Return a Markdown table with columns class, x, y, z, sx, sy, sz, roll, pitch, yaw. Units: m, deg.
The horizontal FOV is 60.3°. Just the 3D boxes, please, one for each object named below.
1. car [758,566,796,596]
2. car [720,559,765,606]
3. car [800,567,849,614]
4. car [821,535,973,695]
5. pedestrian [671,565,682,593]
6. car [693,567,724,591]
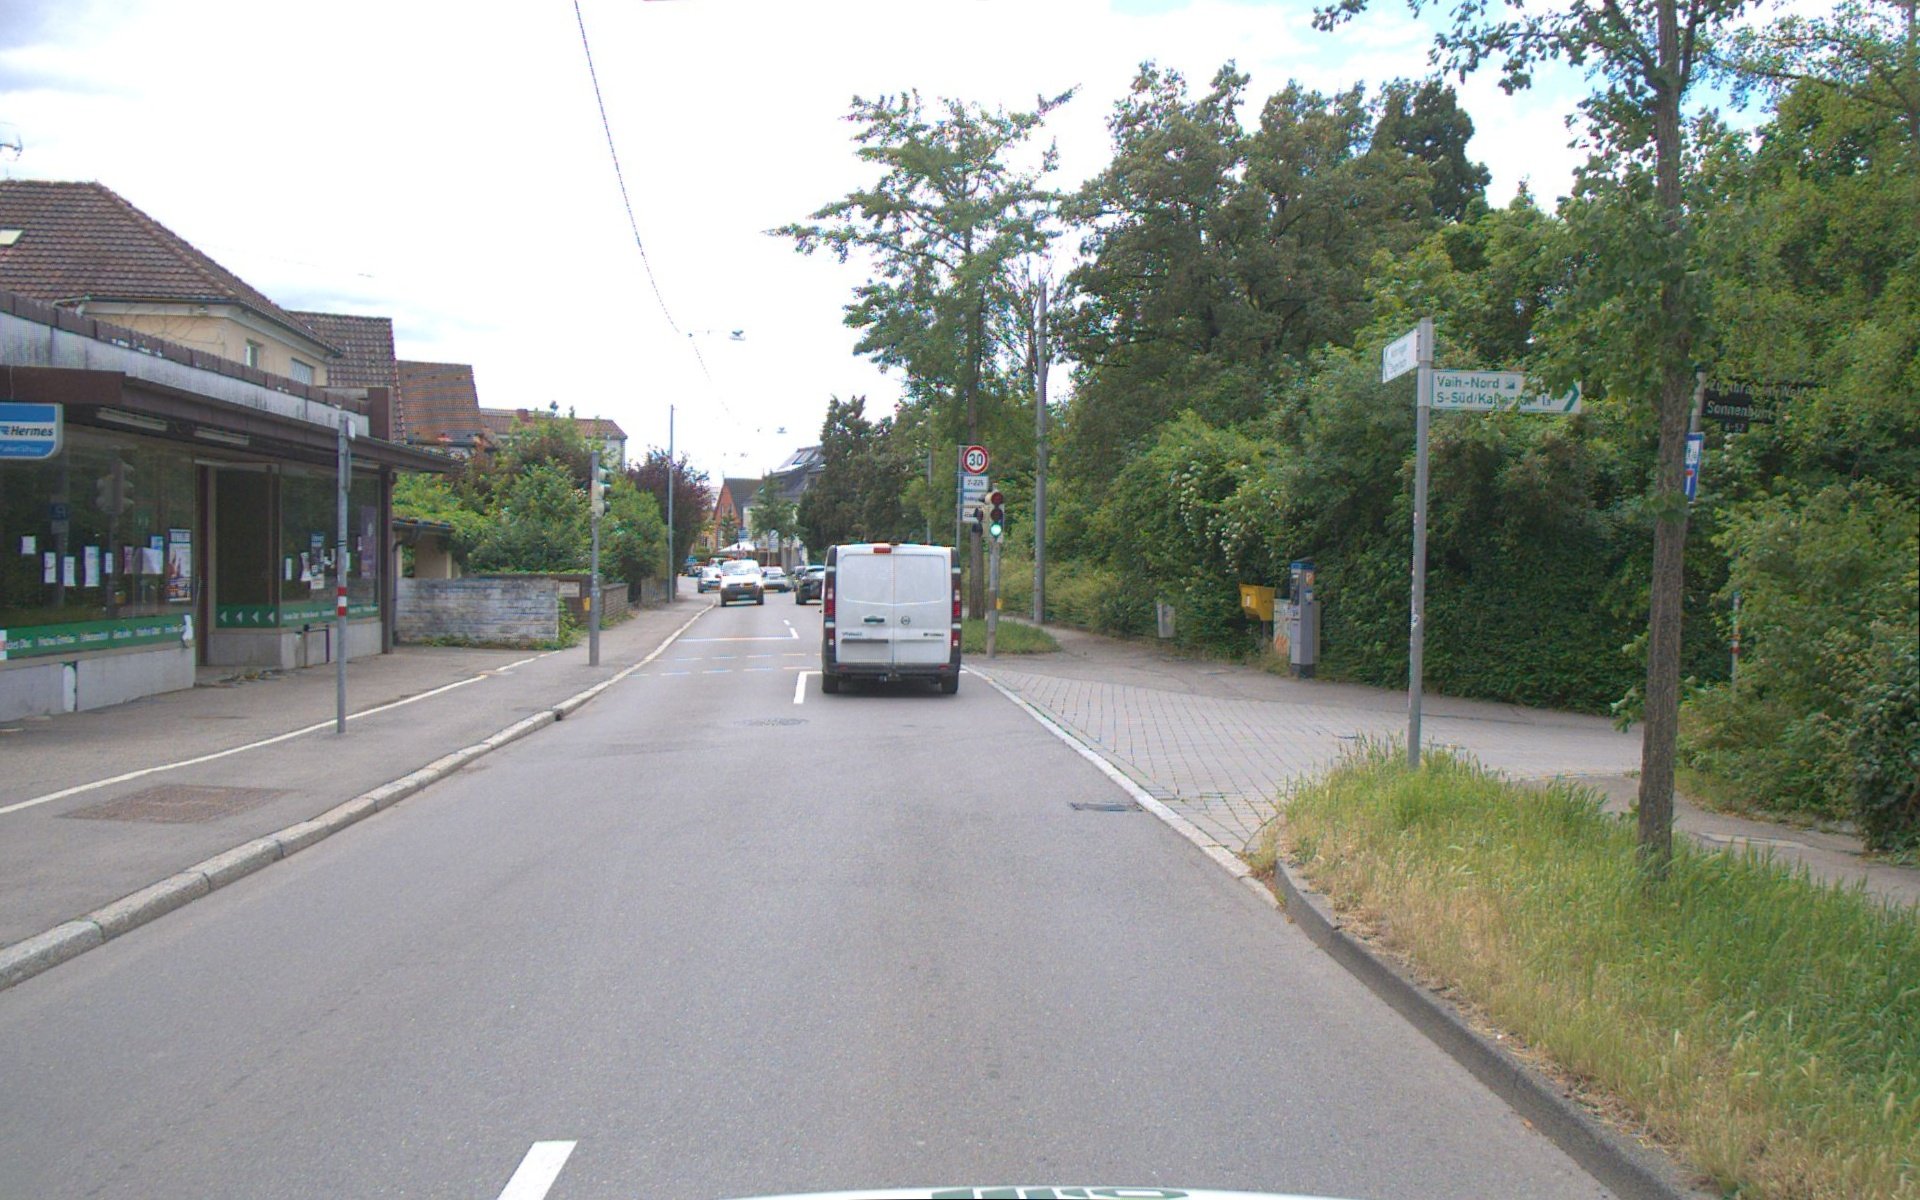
| class | x | y | z | sx | sy | sz | roll | pitch | yaw |
| --- | --- | --- | --- | --- | --- | --- | --- | --- | --- |
| car | -11.505 | -1.198 | 103.843 | 1.794 | 1.758 | 3.985 | 1 | 1 | -14 |
| car | -9.549 | -0.803 | 72.947 | 1.832 | 1.944 | 5.108 | -2 | 2 | -7 |
| car | -5.703 | -0.403 | 70.013 | 1.858 | 1.892 | 4.402 | 1 | 1 | -2 |
| car | -0.969 | 0.171 | 23.212 | 1.892 | 1.998 | 4.398 | 1 | 1 | -5 |
| pedestrian | -17.983 | -1.311 | 104.928 | 0.410 | 1.744 | 0.452 | 1 | 0 | 36 |
| car | -16.779 | -1.402 | 110.338 | 1.850 | 1.538 | 4.101 | -1 | 1 | -12 |
